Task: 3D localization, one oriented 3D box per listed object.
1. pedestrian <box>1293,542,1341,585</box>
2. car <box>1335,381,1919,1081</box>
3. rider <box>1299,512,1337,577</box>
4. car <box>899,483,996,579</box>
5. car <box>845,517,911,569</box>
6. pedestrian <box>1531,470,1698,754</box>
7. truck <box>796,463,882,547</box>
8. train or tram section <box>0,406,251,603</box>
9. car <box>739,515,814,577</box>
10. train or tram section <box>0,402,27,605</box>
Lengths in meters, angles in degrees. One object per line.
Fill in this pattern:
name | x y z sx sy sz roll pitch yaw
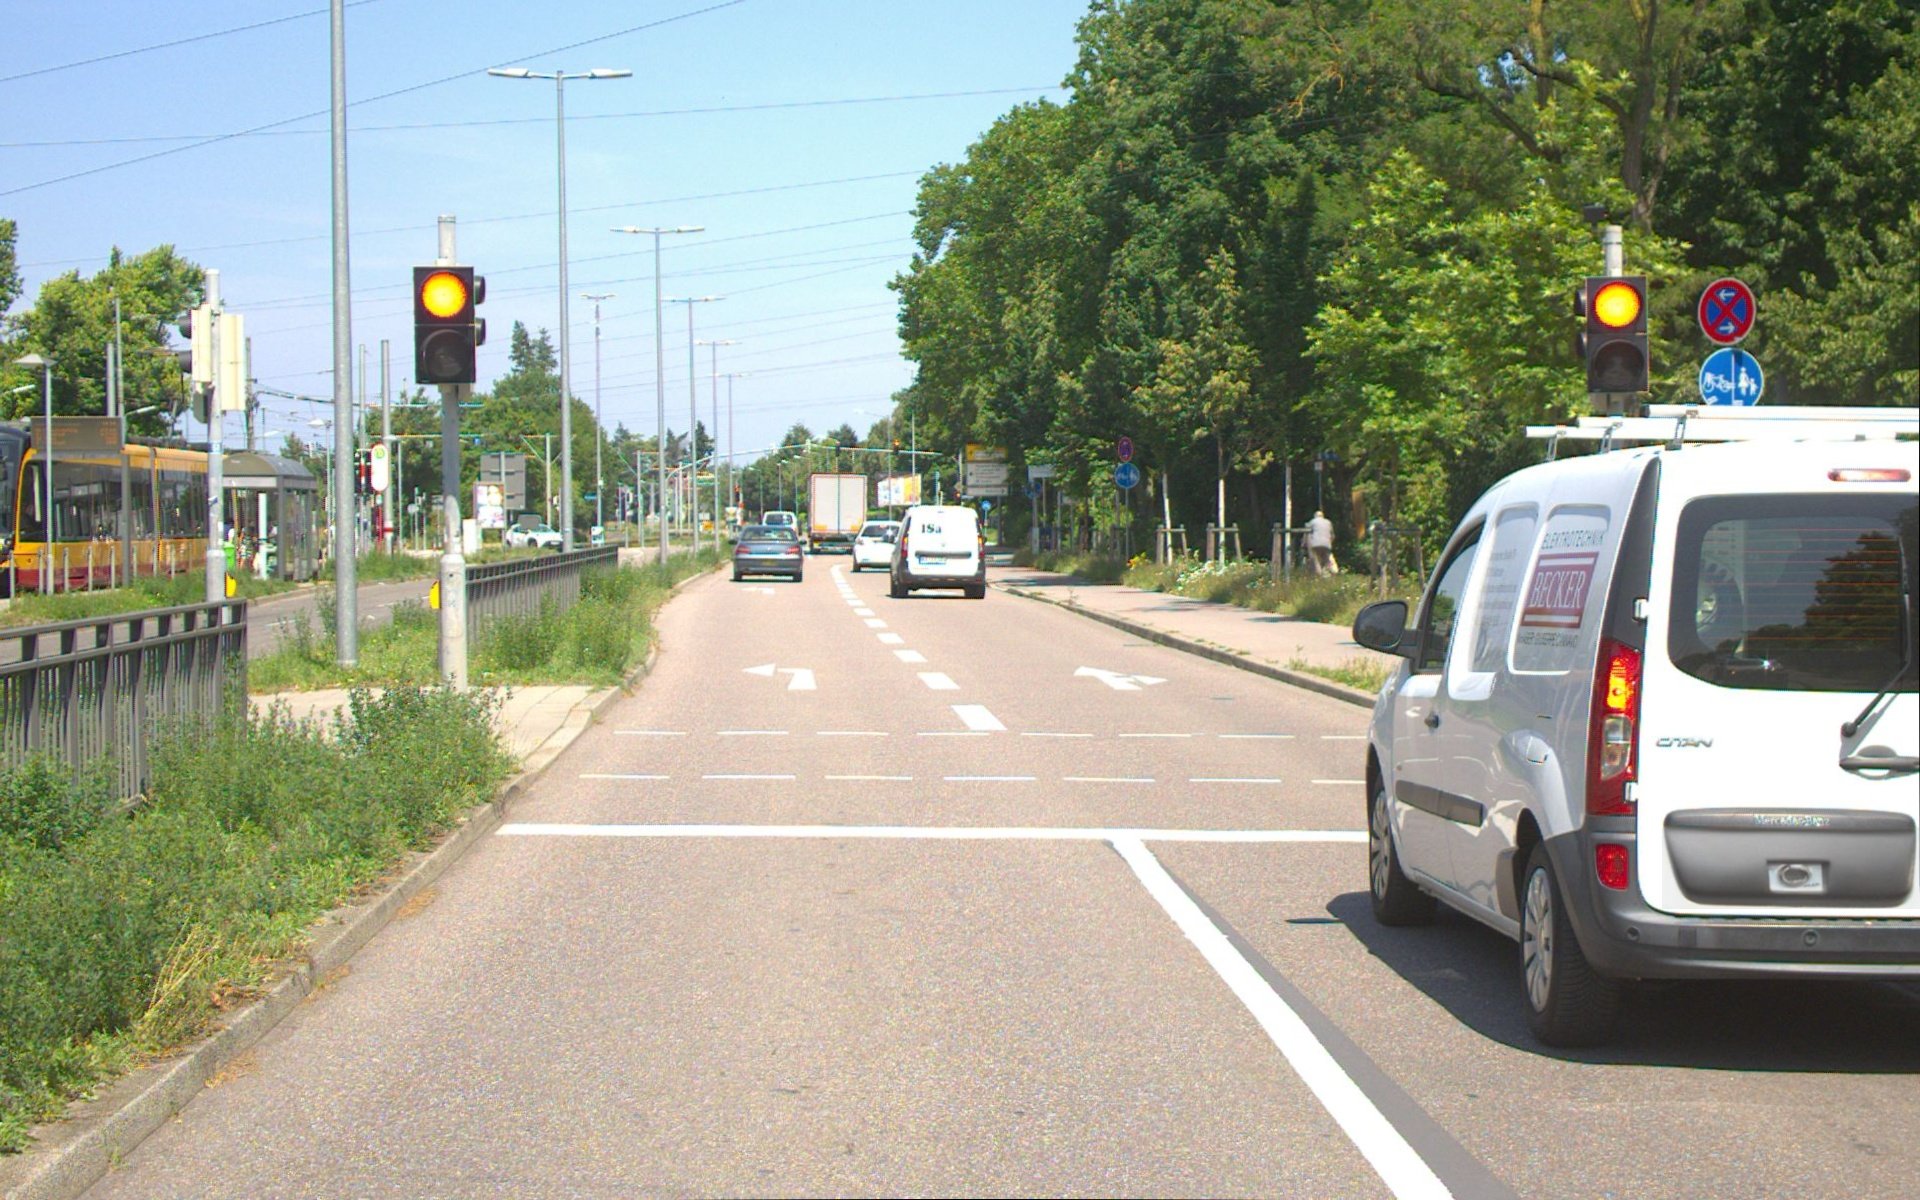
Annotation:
pedestrian | 7.099 -0.733 68.393 0.678 0.845 1.774 0 1 -3
car | 2.496 0.309 11.505 1.824 1.875 4.456 1 1 -2
rider | 7.111 -1.106 68.331 0.678 1.277 0.534 0 1 -3
car | -0.218 -1.377 67.574 1.728 1.807 4.000 1 2 2
car | -2.448 -1.707 102.382 1.803 1.534 4.001 0 1 -4
pedestrian | 4.360 0.068 22.901 1.047 1.844 0.757 1 1 11
truck | -5.761 -4.457 161.794 3.898 3.799 10.794 0 1 -3
train or tram section | -19.363 -2.082 76.977 2.787 3.655 26.003 0 1 -3
car | -4.519 -1.353 84.756 1.801 1.481 4.001 0 1 -3
train or tram section | -17.919 -1.351 45.284 2.787 3.655 37.524 0 1 -3
